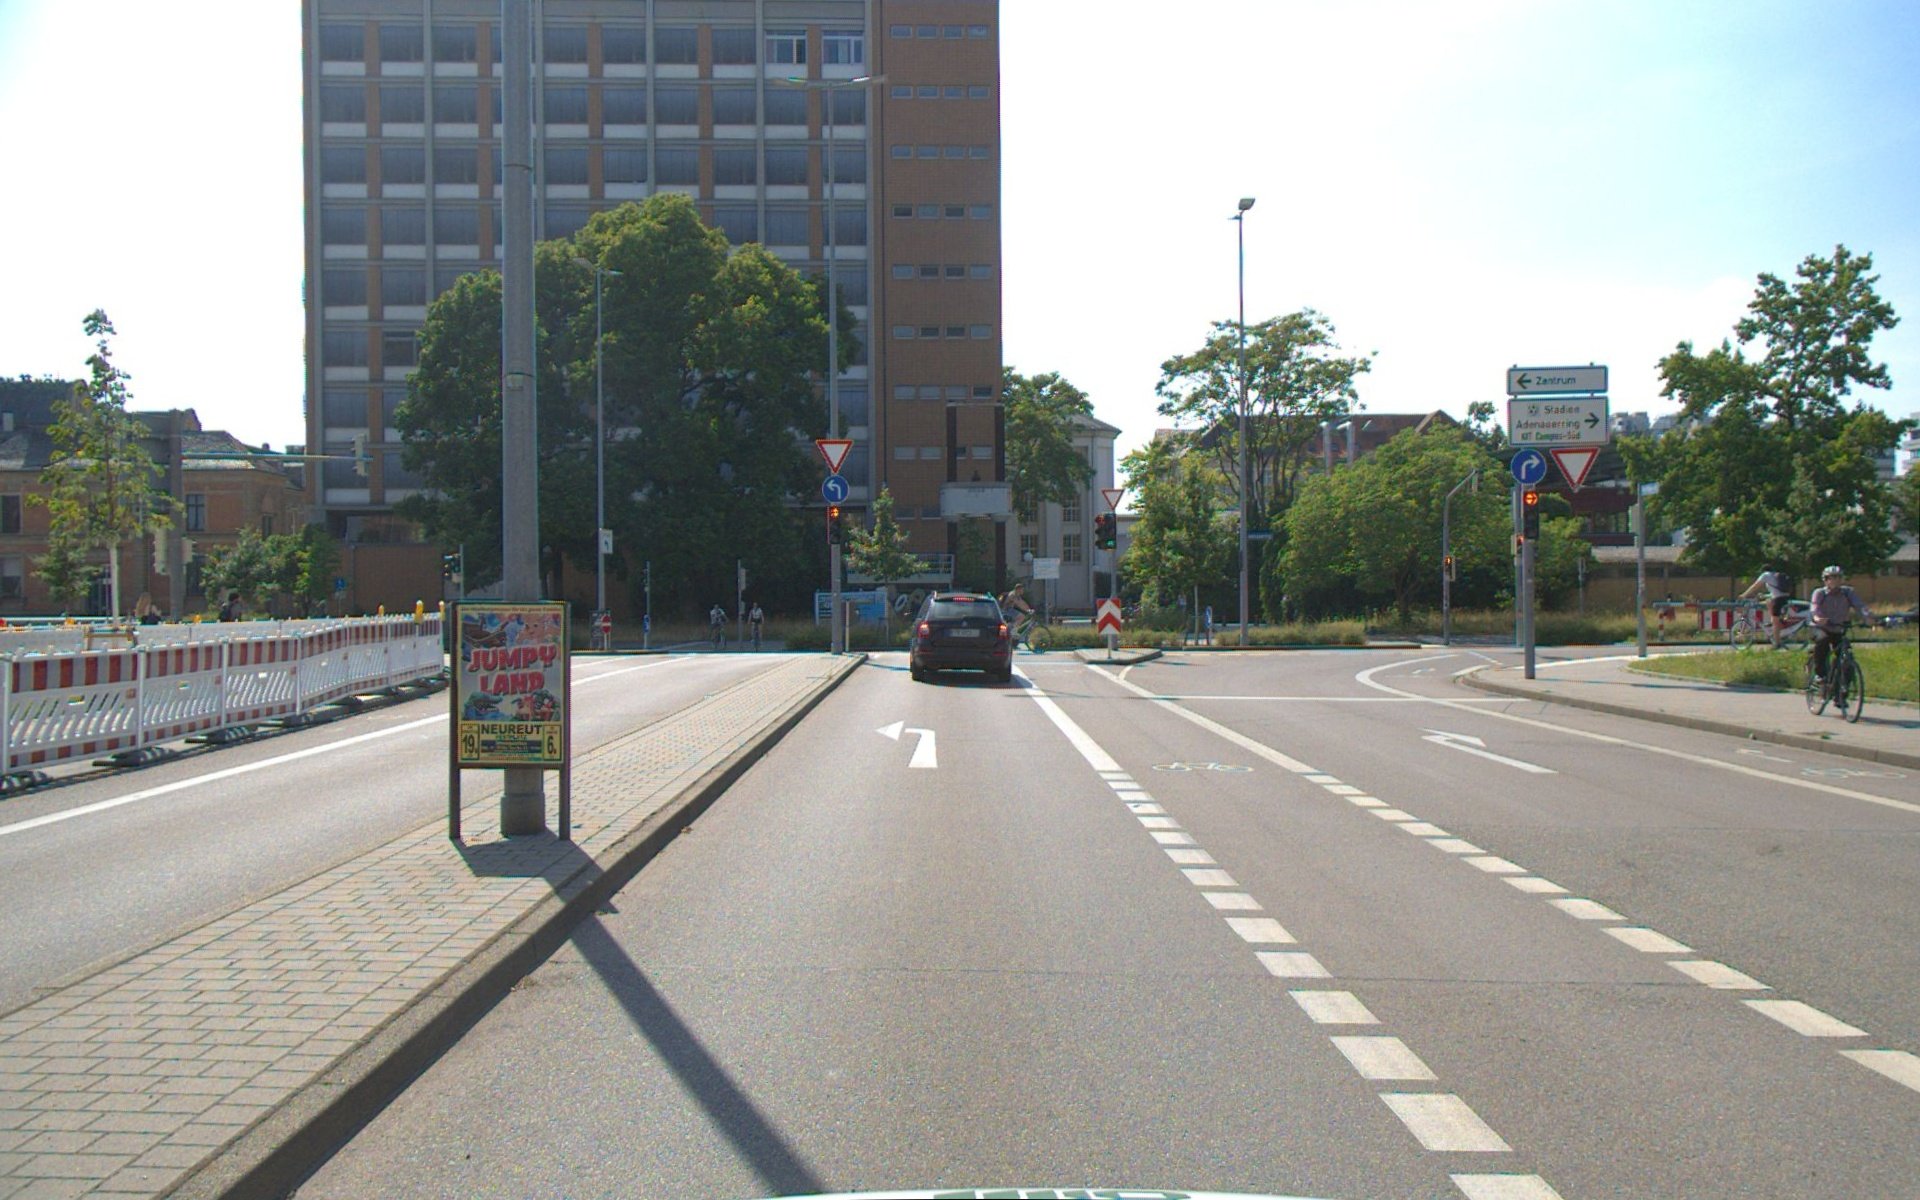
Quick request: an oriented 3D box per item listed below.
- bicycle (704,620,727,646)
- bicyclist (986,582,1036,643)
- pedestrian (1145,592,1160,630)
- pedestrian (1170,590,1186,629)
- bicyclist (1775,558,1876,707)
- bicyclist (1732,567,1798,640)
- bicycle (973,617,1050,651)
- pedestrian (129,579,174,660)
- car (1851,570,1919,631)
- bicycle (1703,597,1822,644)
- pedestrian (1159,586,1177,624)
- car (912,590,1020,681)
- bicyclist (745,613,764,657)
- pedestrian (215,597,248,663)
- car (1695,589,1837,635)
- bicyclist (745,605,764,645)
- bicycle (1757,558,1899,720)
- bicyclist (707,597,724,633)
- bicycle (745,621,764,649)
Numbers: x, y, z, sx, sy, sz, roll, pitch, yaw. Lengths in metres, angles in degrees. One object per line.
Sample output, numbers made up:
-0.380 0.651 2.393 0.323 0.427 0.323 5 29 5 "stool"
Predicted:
-9.776 1.310 66.295 0.690 0.994 2.030 -1 0 -3 "bicycle"
1.270 0.307 41.306 1.140 1.500 0.564 -1 0 11 "bicyclist"
9.762 0.552 83.857 0.584 1.907 0.639 1 -1 22 "pedestrian"
10.906 0.459 82.714 0.624 1.907 0.796 -2 0 -1 "pedestrian"
10.107 0.370 19.337 0.664 1.684 0.918 -1 0 -1 "bicyclist"
16.703 0.069 34.340 0.492 1.496 1.125 2 -1 -43 "bicyclist"
1.283 0.845 41.304 1.849 0.806 0.561 -1 1 12 "bicycle"
-18.106 0.447 37.058 0.724 1.783 1.105 -1 -2 -17 "pedestrian"
33.319 -0.017 57.203 3.904 2.049 2.000 -1 0 1 "car"
16.666 0.426 34.403 0.669 0.932 2.134 -1 0 -43 "bicycle"
10.519 0.258 83.683 0.777 1.907 0.639 1 -1 18 "pedestrian"
0.095 0.573 28.930 1.743 1.468 3.817 1 0 0 "car"
-7.757 1.306 62.477 0.606 1.609 1.013 -3 0 -6 "bicyclist"
-17.070 0.702 38.767 0.621 1.518 0.614 -1 0 -17 "pedestrian"
27.712 0.426 56.967 3.906 1.490 1.999 -1 -1 -1 "car"
-7.779 0.926 62.490 0.606 1.468 0.919 -3 0 -6 "bicyclist"
10.111 0.427 19.333 0.664 1.796 1.811 -1 0 -1 "bicycle"
-9.767 0.607 66.192 0.528 1.441 1.029 -2 -1 -2 "bicyclist"
-7.758 1.306 62.489 0.606 0.977 1.966 -3 0 -5 "bicycle"
